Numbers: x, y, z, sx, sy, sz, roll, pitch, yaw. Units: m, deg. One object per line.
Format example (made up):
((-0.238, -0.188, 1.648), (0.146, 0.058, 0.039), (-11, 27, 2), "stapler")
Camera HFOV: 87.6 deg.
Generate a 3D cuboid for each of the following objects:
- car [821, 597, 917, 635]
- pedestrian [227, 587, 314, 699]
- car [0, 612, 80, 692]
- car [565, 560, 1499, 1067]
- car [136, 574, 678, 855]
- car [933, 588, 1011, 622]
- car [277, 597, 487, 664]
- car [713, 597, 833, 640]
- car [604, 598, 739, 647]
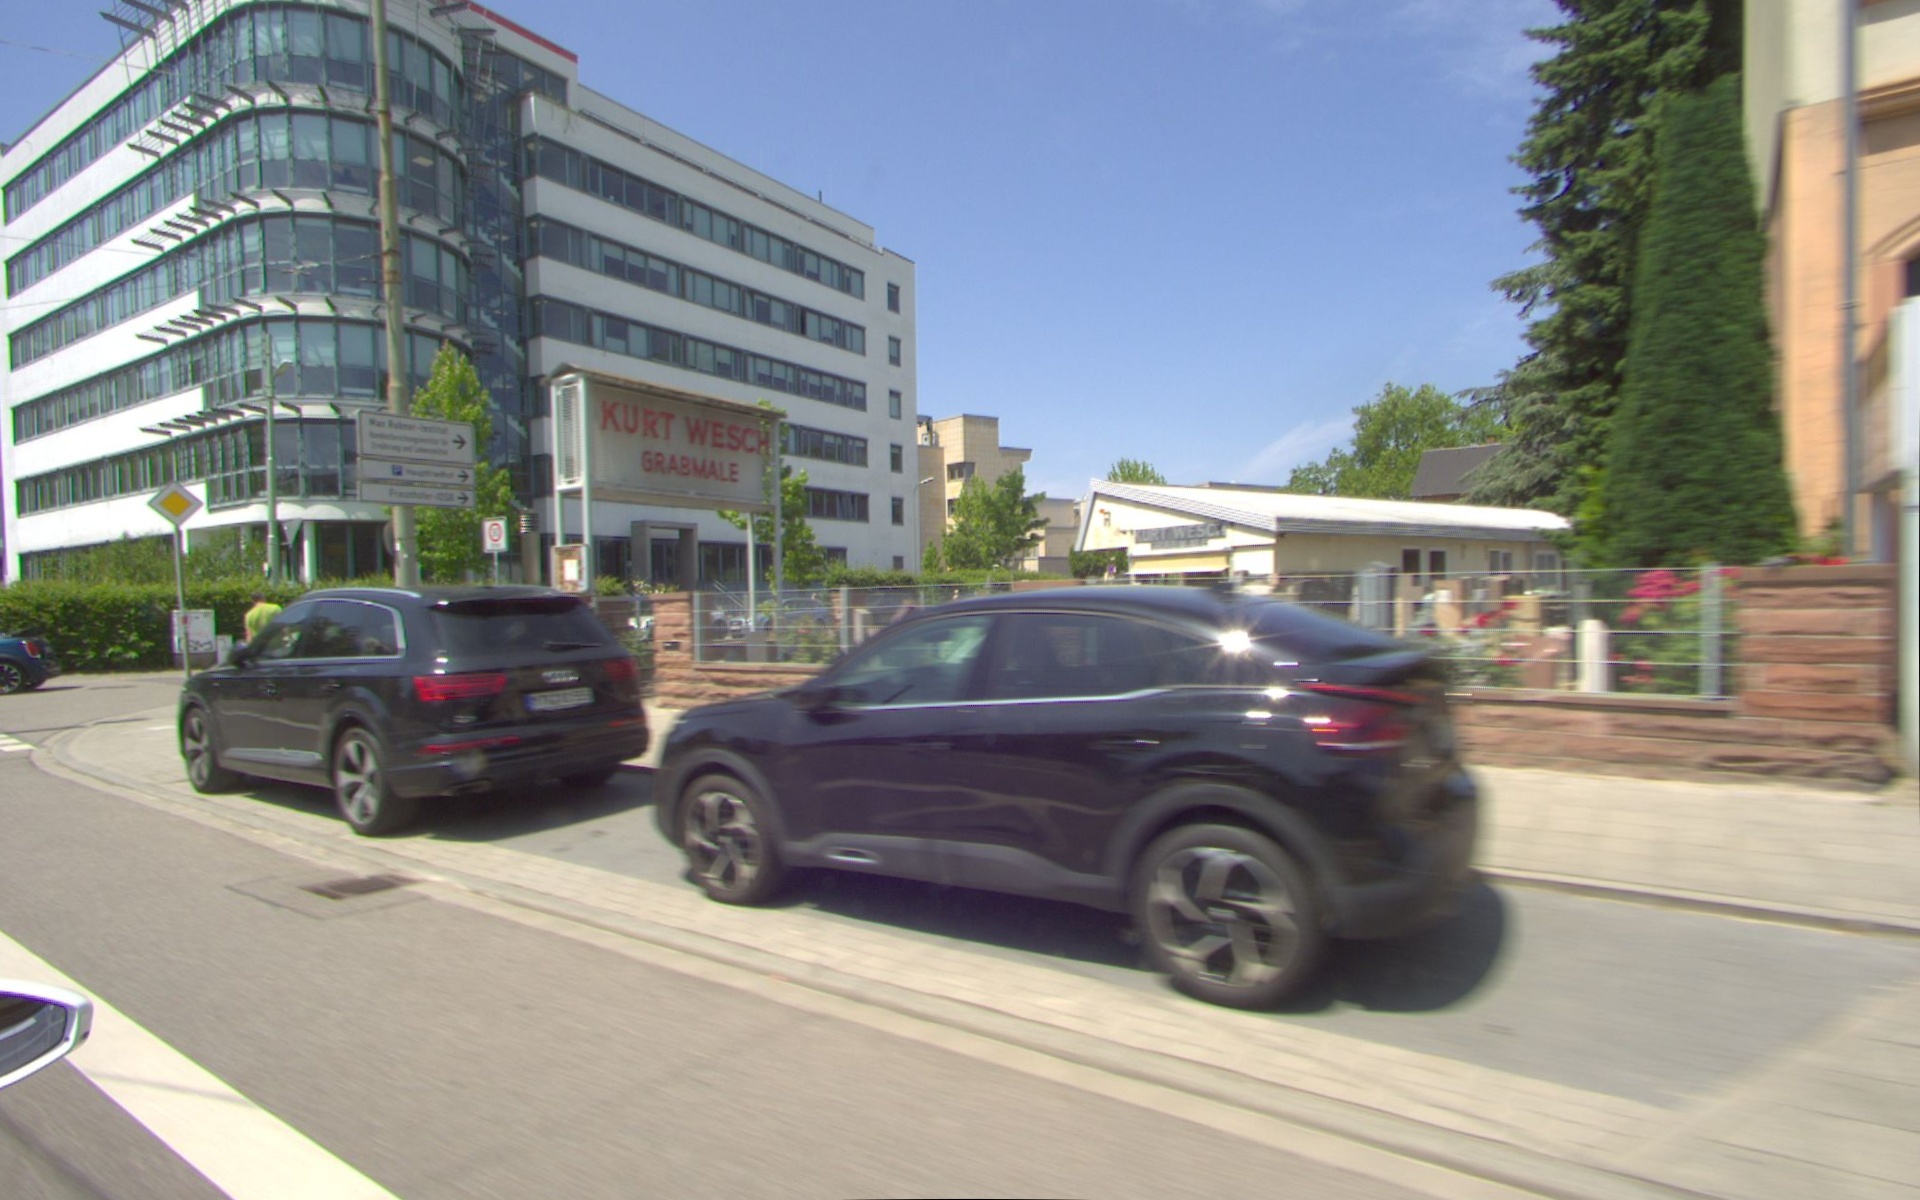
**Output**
((-3.652, 0.608, 40.913), (1.743, 1.428, 4.138), (0, 1, 33), "car")
((-10.748, 0.651, 15.632), (0.721, 1.689, 0.839), (0, 1, 13), "pedestrian")
((-18.426, 0.957, 17.823), (3.873, 1.390, 1.693), (-1, 0, -33), "car")
((0.147, 0.677, 5.069), (4.406, 1.569, 1.767), (-1, 2, 34), "car")
((-4.818, 0.718, 8.435), (5.012, 1.716, 1.918), (0, 2, 35), "car")
((0.612, 0.224, 47.450), (1.743, 1.515, 4.138), (0, 1, 33), "car")
((-14.264, 0.701, 24.911), (1.794, 1.479, 4.133), (0, 1, 37), "car")
((-6.762, 0.642, 36.653), (1.743, 1.428, 4.440), (0, 1, 33), "car")
((-9.334, 0.695, 32.739), (1.742, 1.428, 4.140), (0, 1, 32), "car")
